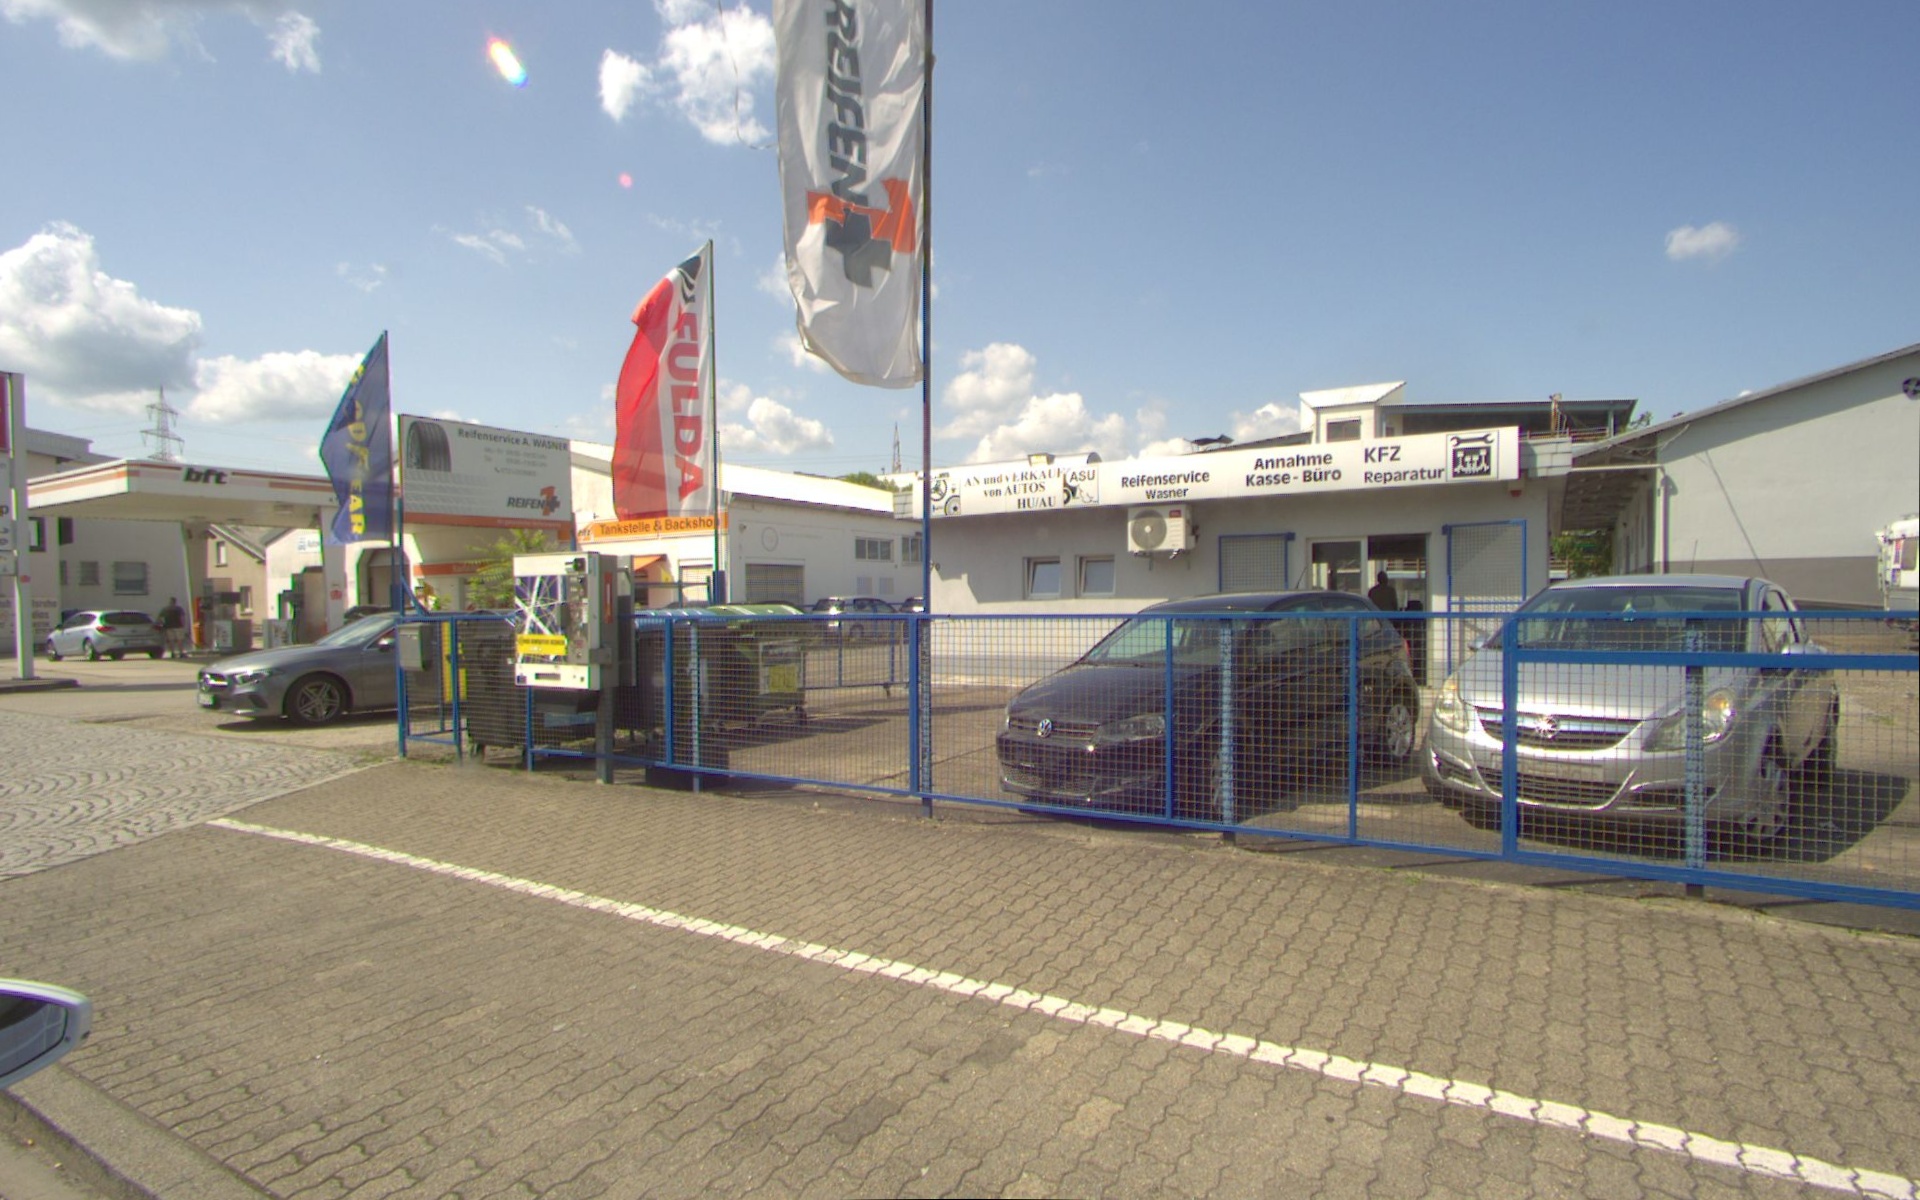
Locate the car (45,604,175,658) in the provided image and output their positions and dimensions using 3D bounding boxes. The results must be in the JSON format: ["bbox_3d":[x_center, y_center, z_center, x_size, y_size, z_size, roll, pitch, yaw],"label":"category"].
[{"bbox_3d":[-25.737,0.899,30.307,3.776,1.523,1.803,-1,0,30],"label":"car"}]

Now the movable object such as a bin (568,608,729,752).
[{"bbox_3d":[-3.328,0.801,10.738,1.225,1.415,1.106,0,1,31],"label":"movable object such as a bin"}]

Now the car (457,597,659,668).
[{"bbox_3d":[-9.166,0.686,23.164,1.564,1.482,4.187,0,0,33],"label":"car"}]

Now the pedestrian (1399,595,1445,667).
[{"bbox_3d":[8.045,0.530,17.439,0.654,1.225,0.563,0,1,34],"label":"pedestrian"}]

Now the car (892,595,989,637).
[{"bbox_3d":[-0.640,0.530,35.737,1.564,1.385,3.860,0,0,33],"label":"car"}]

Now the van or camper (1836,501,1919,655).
[{"bbox_3d":[21.014,-0.457,19.529,5.571,3.005,2.264,0,1,31],"label":"van or camper"}]

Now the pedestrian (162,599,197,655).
[{"bbox_3d":[-23.777,0.799,30.517,0.698,1.679,0.546,-1,1,-22],"label":"pedestrian"}]

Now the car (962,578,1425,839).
[{"bbox_3d":[1.895,0.600,7.486,3.655,1.472,1.625,-1,0,-43],"label":"car"}]

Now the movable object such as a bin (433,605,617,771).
[{"bbox_3d":[-4.160,0.784,9.608,1.225,1.455,1.106,0,1,31],"label":"movable object such as a bin"}]

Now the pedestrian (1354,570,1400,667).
[{"bbox_3d":[7.351,0.317,17.646,0.654,1.671,0.563,0,1,34],"label":"pedestrian"}]

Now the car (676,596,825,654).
[{"bbox_3d":[-5.719,0.639,27.820,1.564,1.482,4.187,0,0,33],"label":"car"}]

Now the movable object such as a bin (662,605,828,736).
[{"bbox_3d":[-2.534,0.781,11.903,1.318,1.414,1.400,0,1,31],"label":"movable object such as a bin"}]

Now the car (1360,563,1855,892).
[{"bbox_3d":[4.271,0.559,6.381,3.729,1.472,1.757,-1,0,-42],"label":"car"}]

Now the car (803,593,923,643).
[{"bbox_3d":[-3.016,0.524,32.051,1.564,1.482,4.187,0,0,33],"label":"car"}]

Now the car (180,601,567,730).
[{"bbox_3d":[-7.764,0.760,13.670,1.652,1.434,4.259,0,0,36],"label":"car"}]

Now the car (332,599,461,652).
[{"bbox_3d":[-17.310,0.745,30.725,3.777,1.523,1.803,-1,0,31],"label":"car"}]
